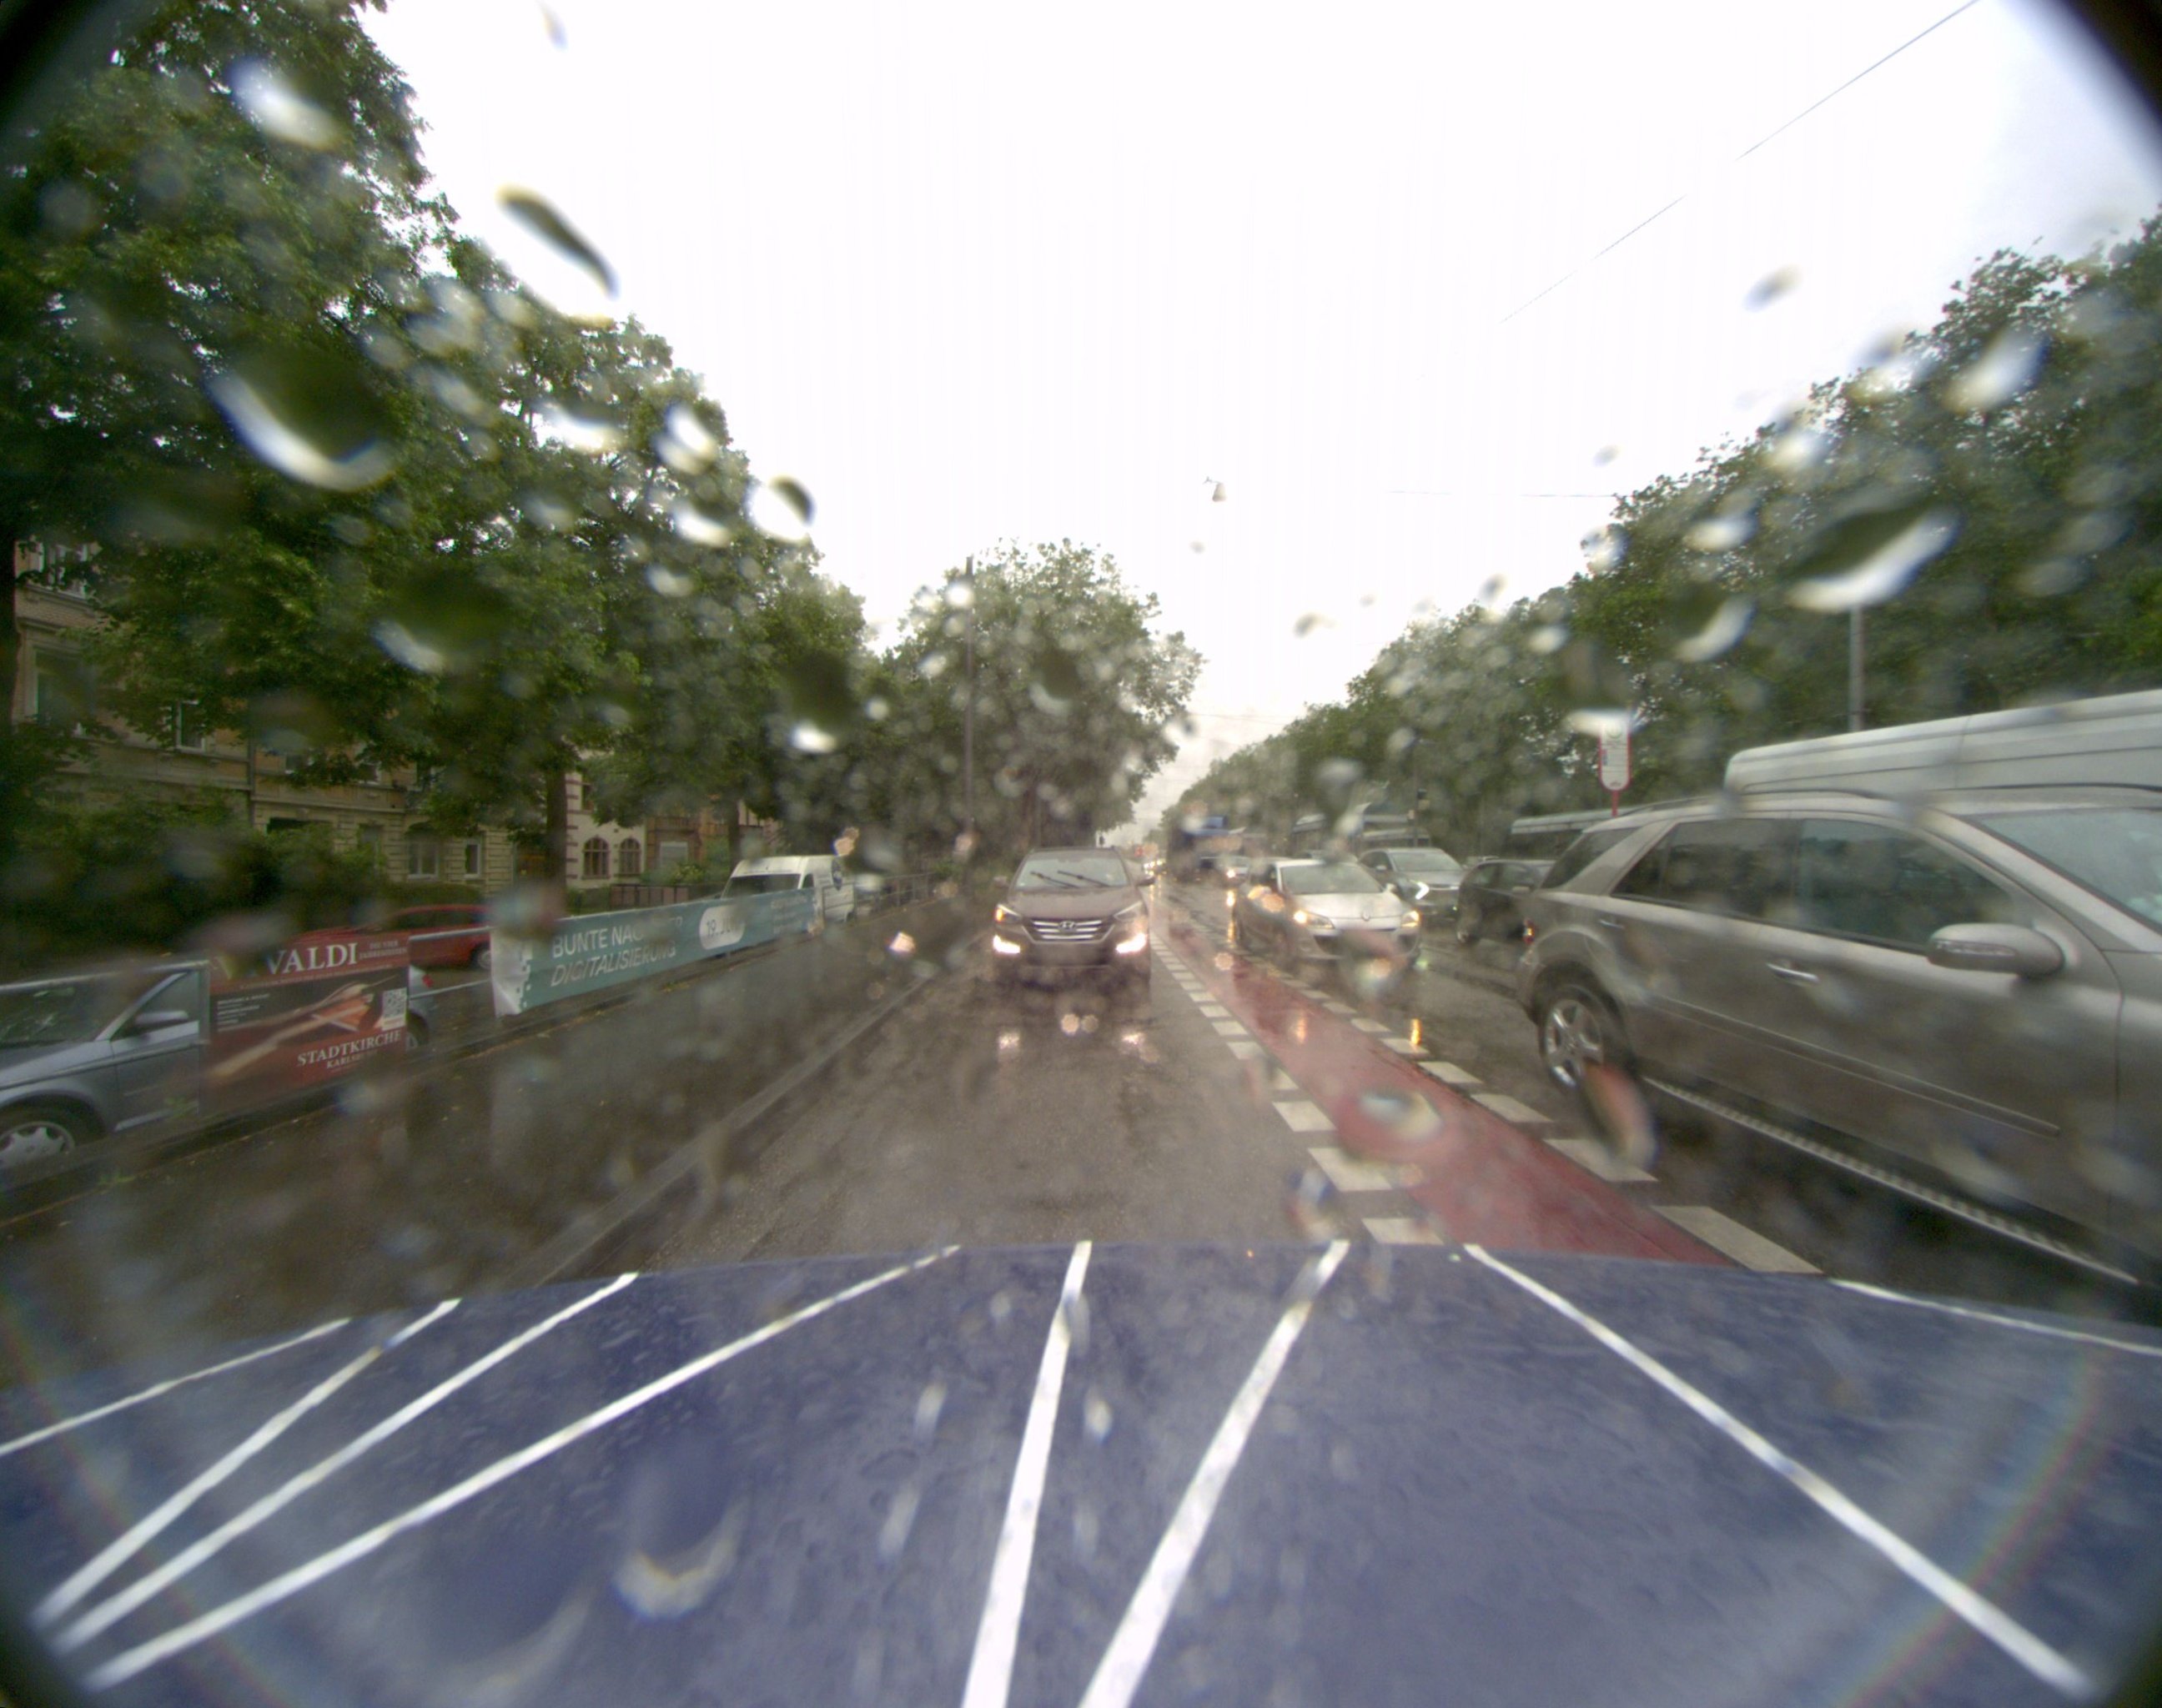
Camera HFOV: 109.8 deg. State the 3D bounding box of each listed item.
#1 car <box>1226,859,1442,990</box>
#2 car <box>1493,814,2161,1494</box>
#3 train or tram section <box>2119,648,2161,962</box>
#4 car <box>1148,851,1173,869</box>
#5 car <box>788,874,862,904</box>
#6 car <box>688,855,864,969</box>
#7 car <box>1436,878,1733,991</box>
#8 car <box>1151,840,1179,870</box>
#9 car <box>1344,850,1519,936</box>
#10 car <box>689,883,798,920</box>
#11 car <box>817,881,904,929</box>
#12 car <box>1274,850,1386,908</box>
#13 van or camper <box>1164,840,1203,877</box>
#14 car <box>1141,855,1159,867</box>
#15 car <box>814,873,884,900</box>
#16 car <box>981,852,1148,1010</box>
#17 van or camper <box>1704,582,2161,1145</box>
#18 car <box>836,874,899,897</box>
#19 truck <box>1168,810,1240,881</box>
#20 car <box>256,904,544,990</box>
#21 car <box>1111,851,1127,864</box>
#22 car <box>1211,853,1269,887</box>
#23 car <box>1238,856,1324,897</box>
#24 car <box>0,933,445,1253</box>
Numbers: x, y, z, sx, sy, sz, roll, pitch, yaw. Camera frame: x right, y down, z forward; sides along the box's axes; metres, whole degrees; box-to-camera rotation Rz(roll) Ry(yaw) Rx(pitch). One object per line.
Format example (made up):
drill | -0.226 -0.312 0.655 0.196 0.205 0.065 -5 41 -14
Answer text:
car | 3.408 0.859 11.074 1.772 1.469 4.000 -2 0 0
car | 3.783 0.743 2.830 2.030 1.760 4.462 -2 0 0
train or tram section | 13.739 -0.573 1.958 3.522 3.492 13.658 -2 0 1
car | 7.615 0.570 73.327 1.998 1.568 4.000 -2 0 1
car | -15.722 2.130 46.665 4.006 1.599 1.821 -2 1 -31
car | -7.703 1.301 20.098 2.214 2.406 6.157 -3 0 -2
car | 6.744 0.986 10.769 1.467 1.111 4.087 -2 0 0
car | 7.213 0.057 65.808 1.998 2.412 5.727 -2 0 3
car | 7.423 0.732 16.668 1.919 1.614 4.454 0 0 2
car | -14.860 2.057 33.501 4.269 1.372 1.687 -1 1 -27
car | -7.818 1.774 27.406 1.972 1.345 4.383 -3 0 -3
car | 7.567 0.690 23.583 1.999 1.611 4.319 -1 0 -1
van or camper | 7.630 0.288 57.111 1.998 2.555 6.431 -2 0 0
car | 7.225 0.707 79.868 1.467 1.185 3.615 -2 0 0
car | -15.349 2.130 50.310 4.007 1.557 1.995 -2 1 -34
car | -0.113 0.831 10.035 1.756 1.657 3.678 -2 0 2
van or camper | 7.081 0.049 4.346 2.164 3.123 5.850 0 0 -1
car | -15.540 2.247 55.357 4.007 1.455 1.908 -2 1 -34
truck | 7.268 -0.480 46.339 2.545 3.866 9.810 1 0 -1
car | -14.627 1.932 16.740 4.439 1.444 1.894 0 -1 -32
car | 4.907 0.425 98.720 1.899 1.569 3.999 0 0 0
car | 7.580 0.730 36.649 1.895 1.478 4.077 -1 0 -1
car | 7.525 0.793 29.061 1.999 1.386 4.606 0 0 -1
car | -7.234 1.595 5.541 1.736 1.530 4.074 -2 0 -1
